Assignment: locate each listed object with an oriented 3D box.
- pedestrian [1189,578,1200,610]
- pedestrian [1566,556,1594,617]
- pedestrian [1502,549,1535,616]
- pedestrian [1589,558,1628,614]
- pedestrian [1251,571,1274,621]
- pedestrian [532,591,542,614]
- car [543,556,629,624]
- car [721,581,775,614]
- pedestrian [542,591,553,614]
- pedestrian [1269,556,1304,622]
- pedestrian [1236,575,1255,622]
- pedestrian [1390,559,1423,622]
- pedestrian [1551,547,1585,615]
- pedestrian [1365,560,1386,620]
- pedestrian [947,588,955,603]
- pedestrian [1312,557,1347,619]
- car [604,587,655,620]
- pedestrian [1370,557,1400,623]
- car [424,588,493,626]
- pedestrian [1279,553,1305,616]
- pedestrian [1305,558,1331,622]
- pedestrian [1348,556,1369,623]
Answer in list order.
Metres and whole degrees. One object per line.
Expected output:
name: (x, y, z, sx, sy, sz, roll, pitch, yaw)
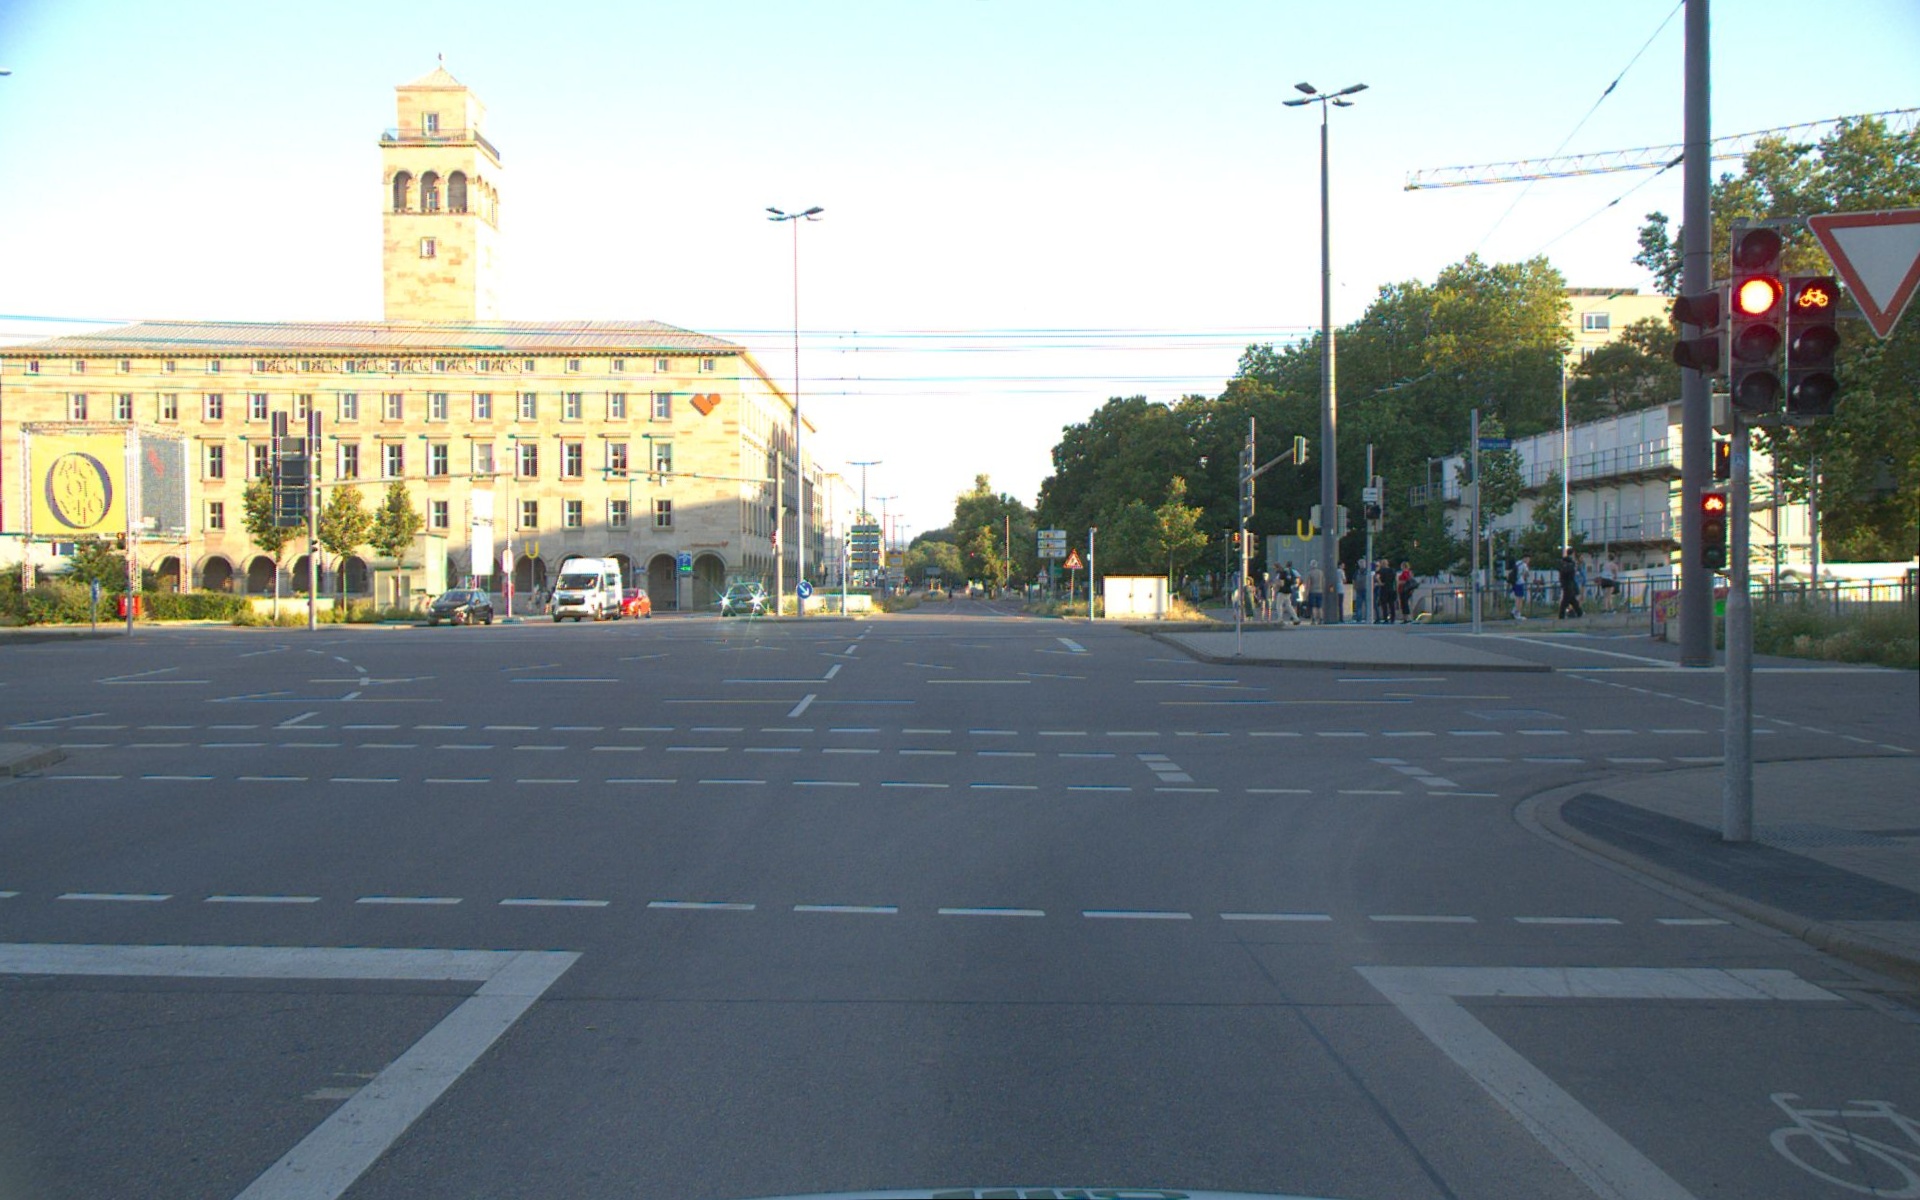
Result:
pedestrian: (13.583, -0.346, 95.848, 0.628, 1.791, 0.525, 0, 1, 7)
pedestrian: (16.888, -0.369, 45.076, 0.559, 1.620, 0.536, -1, 0, -1)
pedestrian: (14.861, -0.458, 44.007, 0.652, 1.755, 0.713, 0, 1, 2)
pedestrian: (17.138, -0.371, 43.717, 0.699, 1.466, 0.676, -1, 0, -13)
pedestrian: (11.108, -0.151, 60.751, 0.665, 1.788, 0.902, 0, 1, 20)
pedestrian: (-24.608, 0.123, 96.220, 0.465, 1.323, 0.463, 1, -1, -6)
car: (-16.248, -0.473, 72.232, 2.232, 2.824, 6.085, -1, 1, 1)
car: (-9.259, -0.135, 72.487, 1.785, 1.365, 4.001, 0, 1, 1)
pedestrian: (-23.963, 0.134, 96.023, 0.496, 1.323, 0.700, 1, -1, -6)
pedestrian: (8.799, -0.293, 44.538, 0.892, 1.755, 0.714, 0, 1, 14)
pedestrian: (10.521, -0.057, 60.970, 0.548, 1.683, 0.902, 0, 1, 20)
pedestrian: (12.485, -0.267, 46.238, 0.826, 1.764, 0.706, 0, 1, 11)
pedestrian: (15.803, -0.495, 43.003, 0.652, 1.755, 0.713, 0, 1, 5)
pedestrian: (11.905, -0.286, 47.394, 0.560, 1.708, 0.639, 0, 1, 13)
pedestrian: (-1.058, -0.537, 194.682, 0.888, 1.700, 1.306, -1, 1, -2)
pedestrian: (10.455, -0.344, 46.826, 0.892, 1.755, 0.714, 0, 1, 8)
car: (-16.144, 0.153, 80.931, 1.703, 1.513, 4.000, -1, 1, -1)
pedestrian: (11.771, -0.280, 45.853, 0.788, 1.822, 0.801, 0, 1, 13)
car: (-21.163, 0.260, 69.983, 1.786, 1.491, 4.156, -1, 1, -2)
pedestrian: (9.212, -0.432, 45.890, 0.695, 1.755, 0.669, 0, 1, 11)
pedestrian: (9.902, -0.269, 45.689, 0.695, 1.755, 0.669, 0, 1, 13)
pedestrian: (11.055, -0.291, 45.852, 0.560, 1.822, 0.639, 0, 1, 13)
